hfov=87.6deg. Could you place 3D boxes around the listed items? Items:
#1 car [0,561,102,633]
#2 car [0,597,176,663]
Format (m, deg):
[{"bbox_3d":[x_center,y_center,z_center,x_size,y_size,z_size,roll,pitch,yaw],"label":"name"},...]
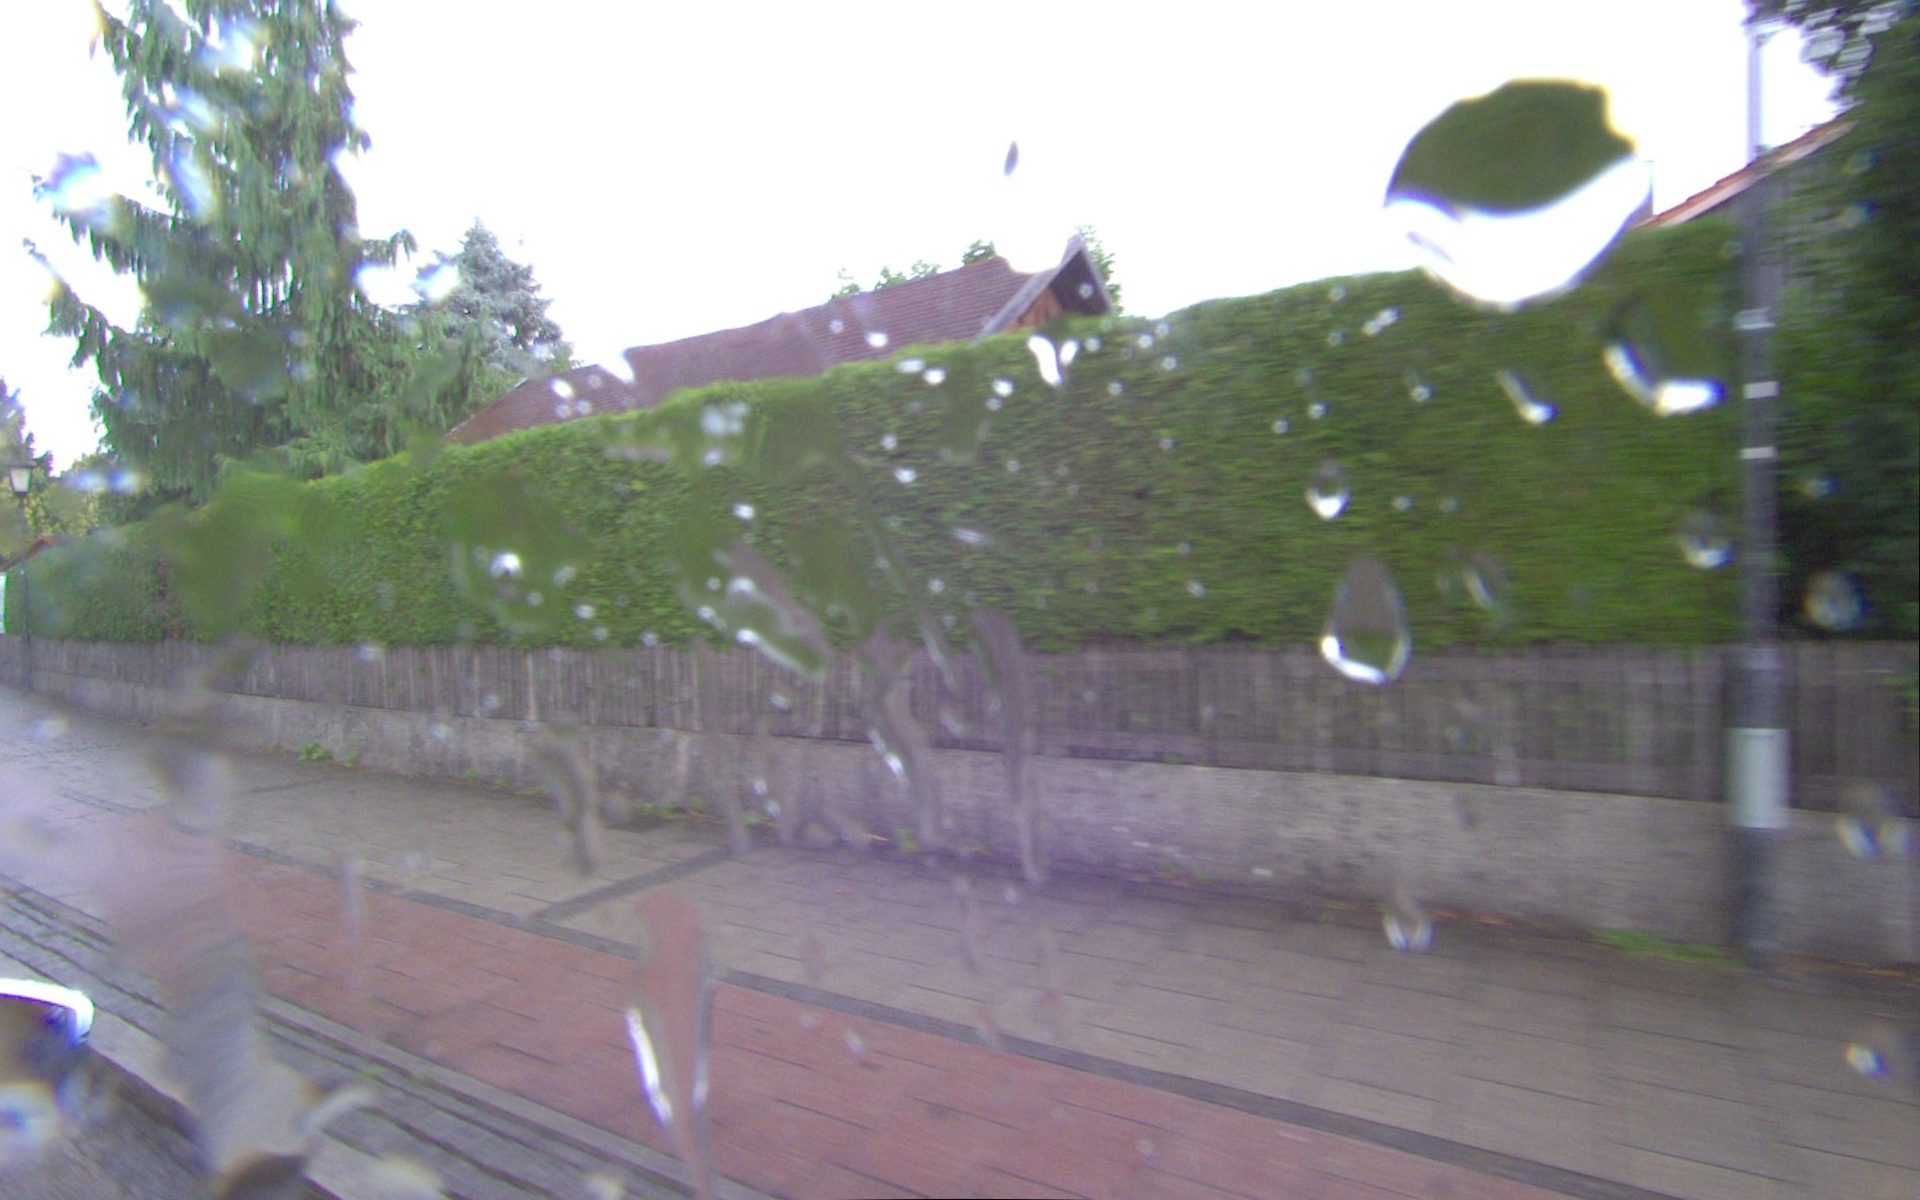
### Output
[{"bbox_3d":[-30.732,-0.021,33.045,4.875,2.201,1.993,-1,-2,27],"label":"car"},{"bbox_3d":[-26.226,0.841,29.936,1.672,1.776,4.078,2,2,37],"label":"car"}]
